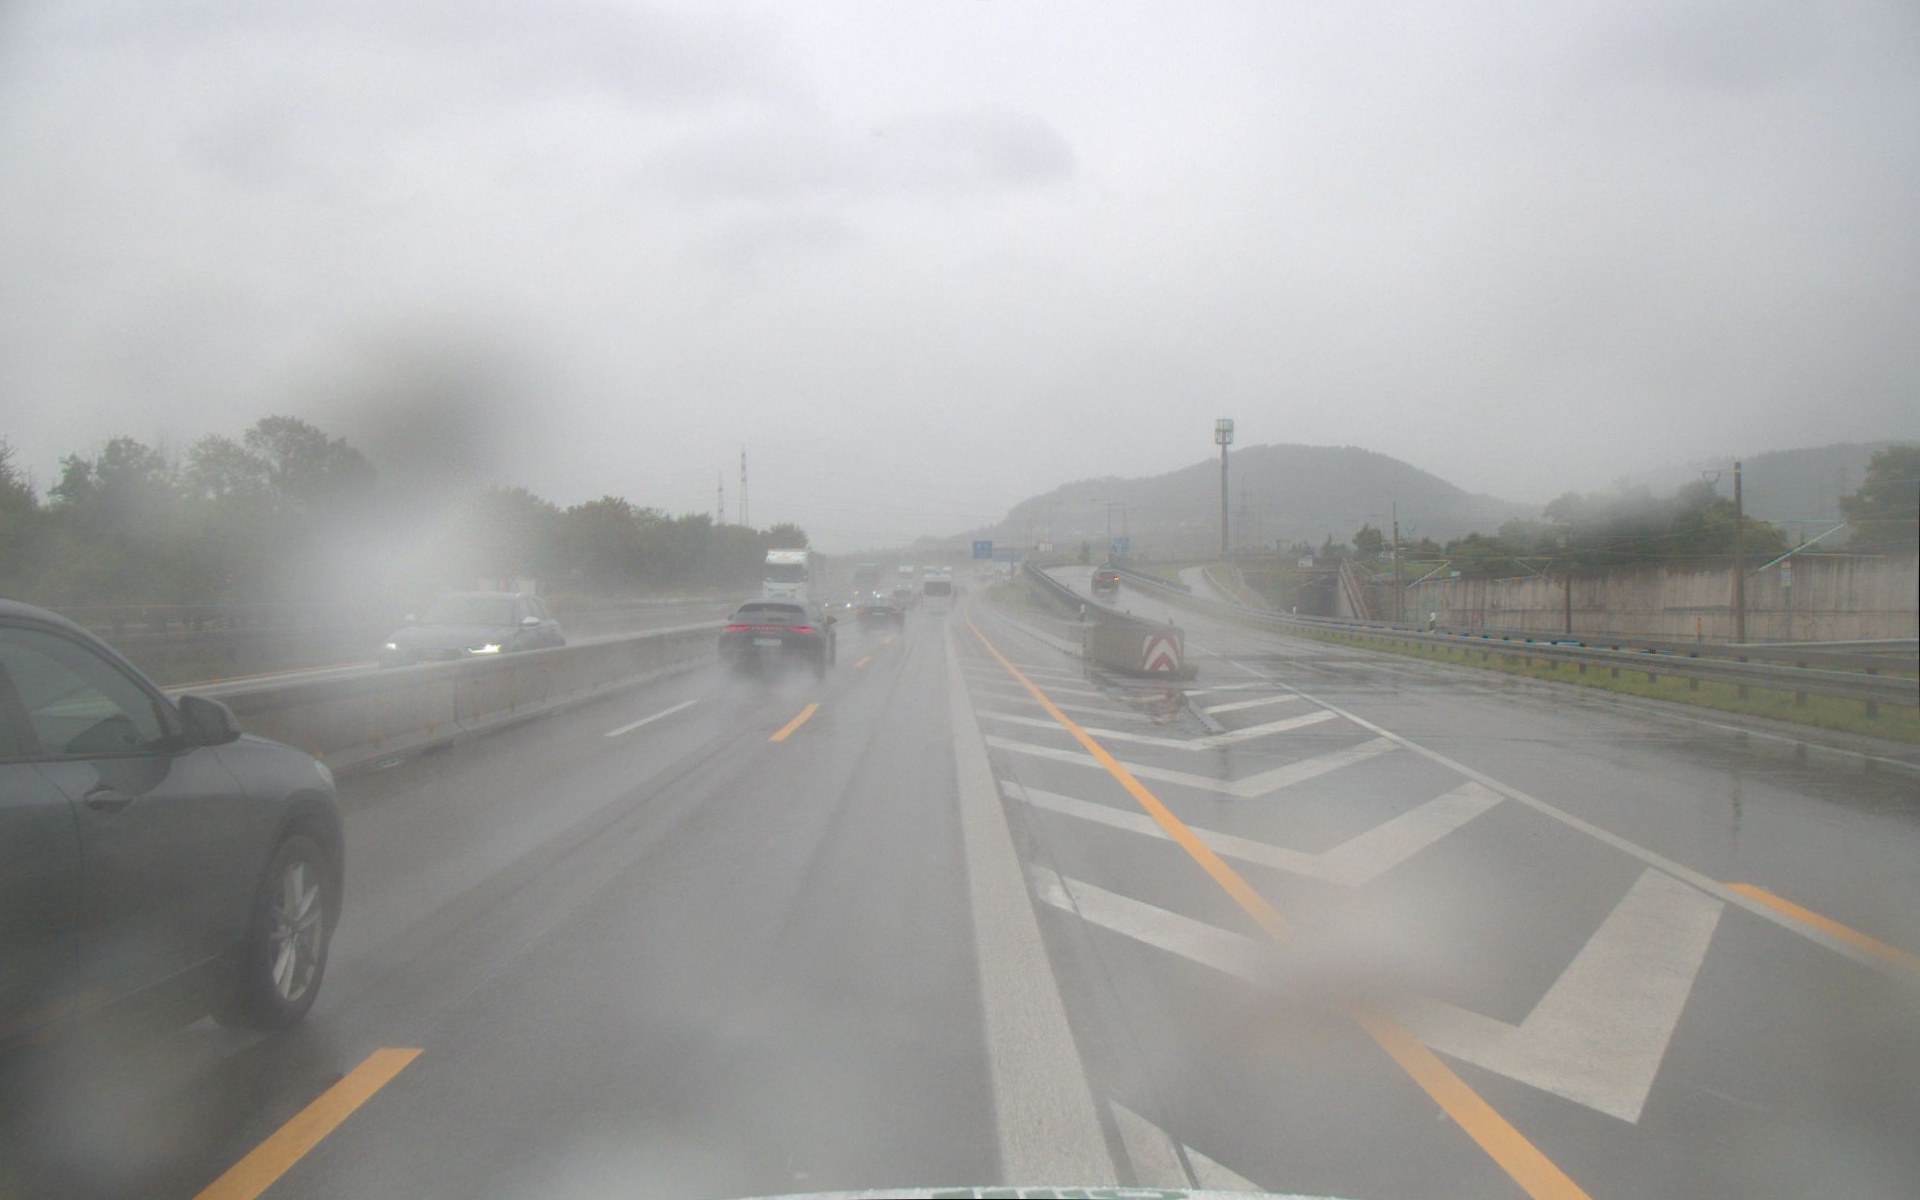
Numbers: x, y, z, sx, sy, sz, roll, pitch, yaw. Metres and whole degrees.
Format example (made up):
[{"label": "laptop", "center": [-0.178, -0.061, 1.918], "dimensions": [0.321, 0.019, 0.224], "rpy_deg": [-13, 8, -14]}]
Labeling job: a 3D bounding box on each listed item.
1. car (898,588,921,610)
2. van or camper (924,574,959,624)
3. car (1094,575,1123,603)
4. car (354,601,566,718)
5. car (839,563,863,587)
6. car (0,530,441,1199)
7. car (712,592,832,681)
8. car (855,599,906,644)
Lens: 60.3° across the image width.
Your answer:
[{"label": "car", "center": [-3.512, -0.073, 116.458], "dimensions": [1.535, 1.506, 2.821], "rpy_deg": [-2, -1, -1]}, {"label": "van or camper", "center": [-1.068, -0.055, 95.729], "dimensions": [1.955, 2.826, 4.048], "rpy_deg": [1, 0, -1]}, {"label": "car", "center": [12.077, -0.877, 134.673], "dimensions": [1.953, 2.180, 3.999], "rpy_deg": [1, 0, -1]}, {"label": "car", "center": [-7.339, 0.810, 24.791], "dimensions": [1.725, 1.554, 4.949], "rpy_deg": [1, 0, -1]}, {"label": "car", "center": [-13.815, -3.189, 210.752], "dimensions": [2.655, 2.862, 5.095], "rpy_deg": [1, 0, 0]}, {"label": "car", "center": [-2.969, 0.689, 4.424], "dimensions": [1.666, 1.626, 4.844], "rpy_deg": [-2, -1, -1]}, {"label": "car", "center": [-3.442, 0.647, 31.001], "dimensions": [1.807, 1.517, 4.260], "rpy_deg": [1, 0, -1]}, {"label": "car", "center": [-3.047, 0.809, 64.064], "dimensions": [1.807, 1.517, 4.261], "rpy_deg": [-2, 1, -1]}]
